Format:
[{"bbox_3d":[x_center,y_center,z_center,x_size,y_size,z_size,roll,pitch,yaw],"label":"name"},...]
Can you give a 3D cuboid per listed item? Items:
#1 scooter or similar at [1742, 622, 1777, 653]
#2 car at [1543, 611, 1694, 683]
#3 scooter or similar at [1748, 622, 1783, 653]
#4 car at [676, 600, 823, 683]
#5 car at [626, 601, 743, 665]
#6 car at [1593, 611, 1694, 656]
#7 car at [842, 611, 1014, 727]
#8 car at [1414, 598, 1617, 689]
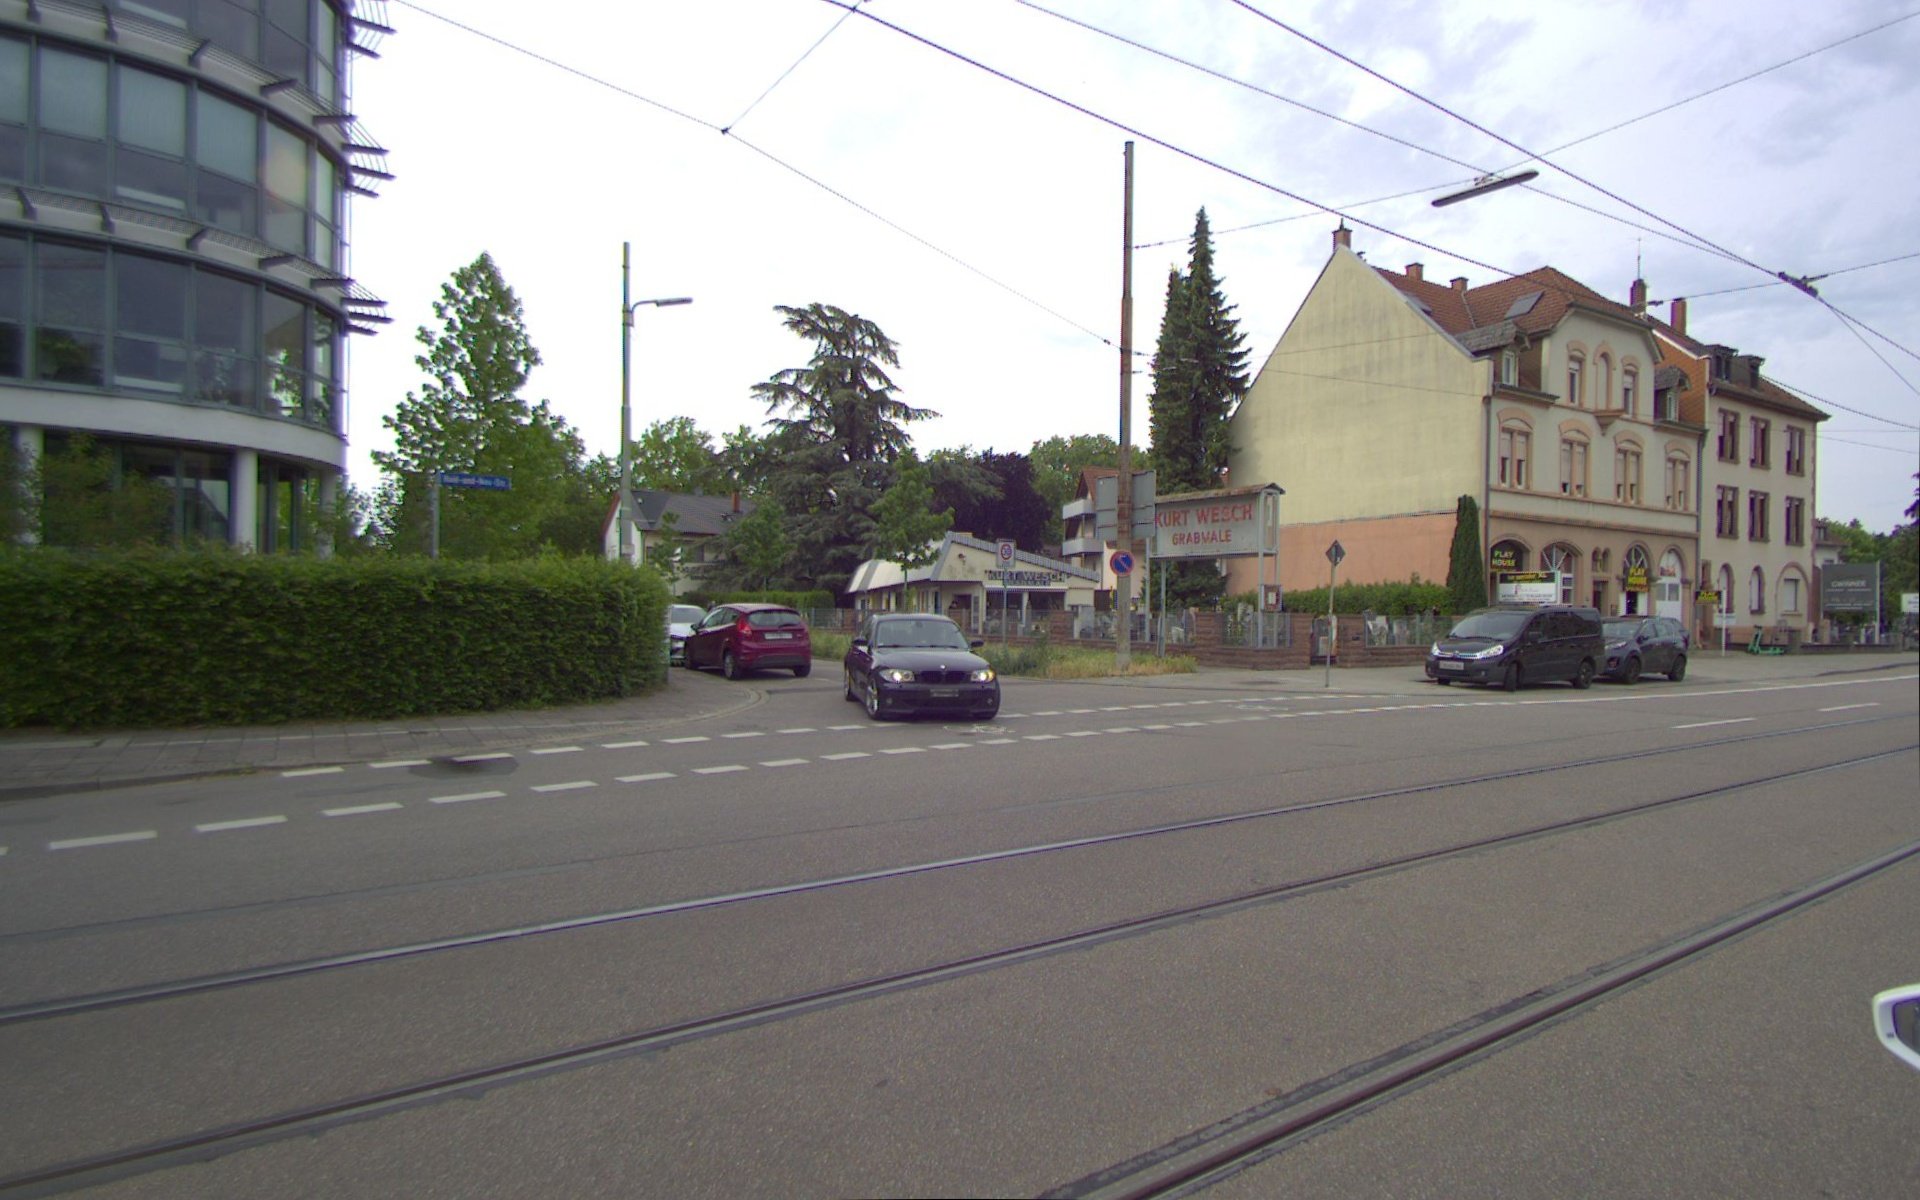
[{"bbox_3d":[32.985,1.537,41.460,1.032,1.204,0.318,2,1,25],"label":"scooter or similar"},{"bbox_3d":[17.744,1.236,27.024,4.147,1.740,1.834,2,0,-33],"label":"car"},{"bbox_3d":[32.809,1.531,40.906,1.032,1.204,0.318,2,1,25],"label":"scooter or similar"},{"bbox_3d":[-4.407,0.779,20.686,1.749,1.437,3.687,-1,2,-33],"label":"car"},{"bbox_3d":[-6.850,0.793,24.676,1.811,1.439,3.968,2,-1,-30],"label":"car"},{"bbox_3d":[25.226,1.241,37.070,3.706,1.520,1.743,2,0,-33],"label":"car"},{"bbox_3d":[-0.609,0.878,14.471,1.771,1.406,3.923,1,0,-13],"label":"car"},{"bbox_3d":[13.122,1.001,23.639,4.942,1.912,1.981,2,0,-32],"label":"car"}]
